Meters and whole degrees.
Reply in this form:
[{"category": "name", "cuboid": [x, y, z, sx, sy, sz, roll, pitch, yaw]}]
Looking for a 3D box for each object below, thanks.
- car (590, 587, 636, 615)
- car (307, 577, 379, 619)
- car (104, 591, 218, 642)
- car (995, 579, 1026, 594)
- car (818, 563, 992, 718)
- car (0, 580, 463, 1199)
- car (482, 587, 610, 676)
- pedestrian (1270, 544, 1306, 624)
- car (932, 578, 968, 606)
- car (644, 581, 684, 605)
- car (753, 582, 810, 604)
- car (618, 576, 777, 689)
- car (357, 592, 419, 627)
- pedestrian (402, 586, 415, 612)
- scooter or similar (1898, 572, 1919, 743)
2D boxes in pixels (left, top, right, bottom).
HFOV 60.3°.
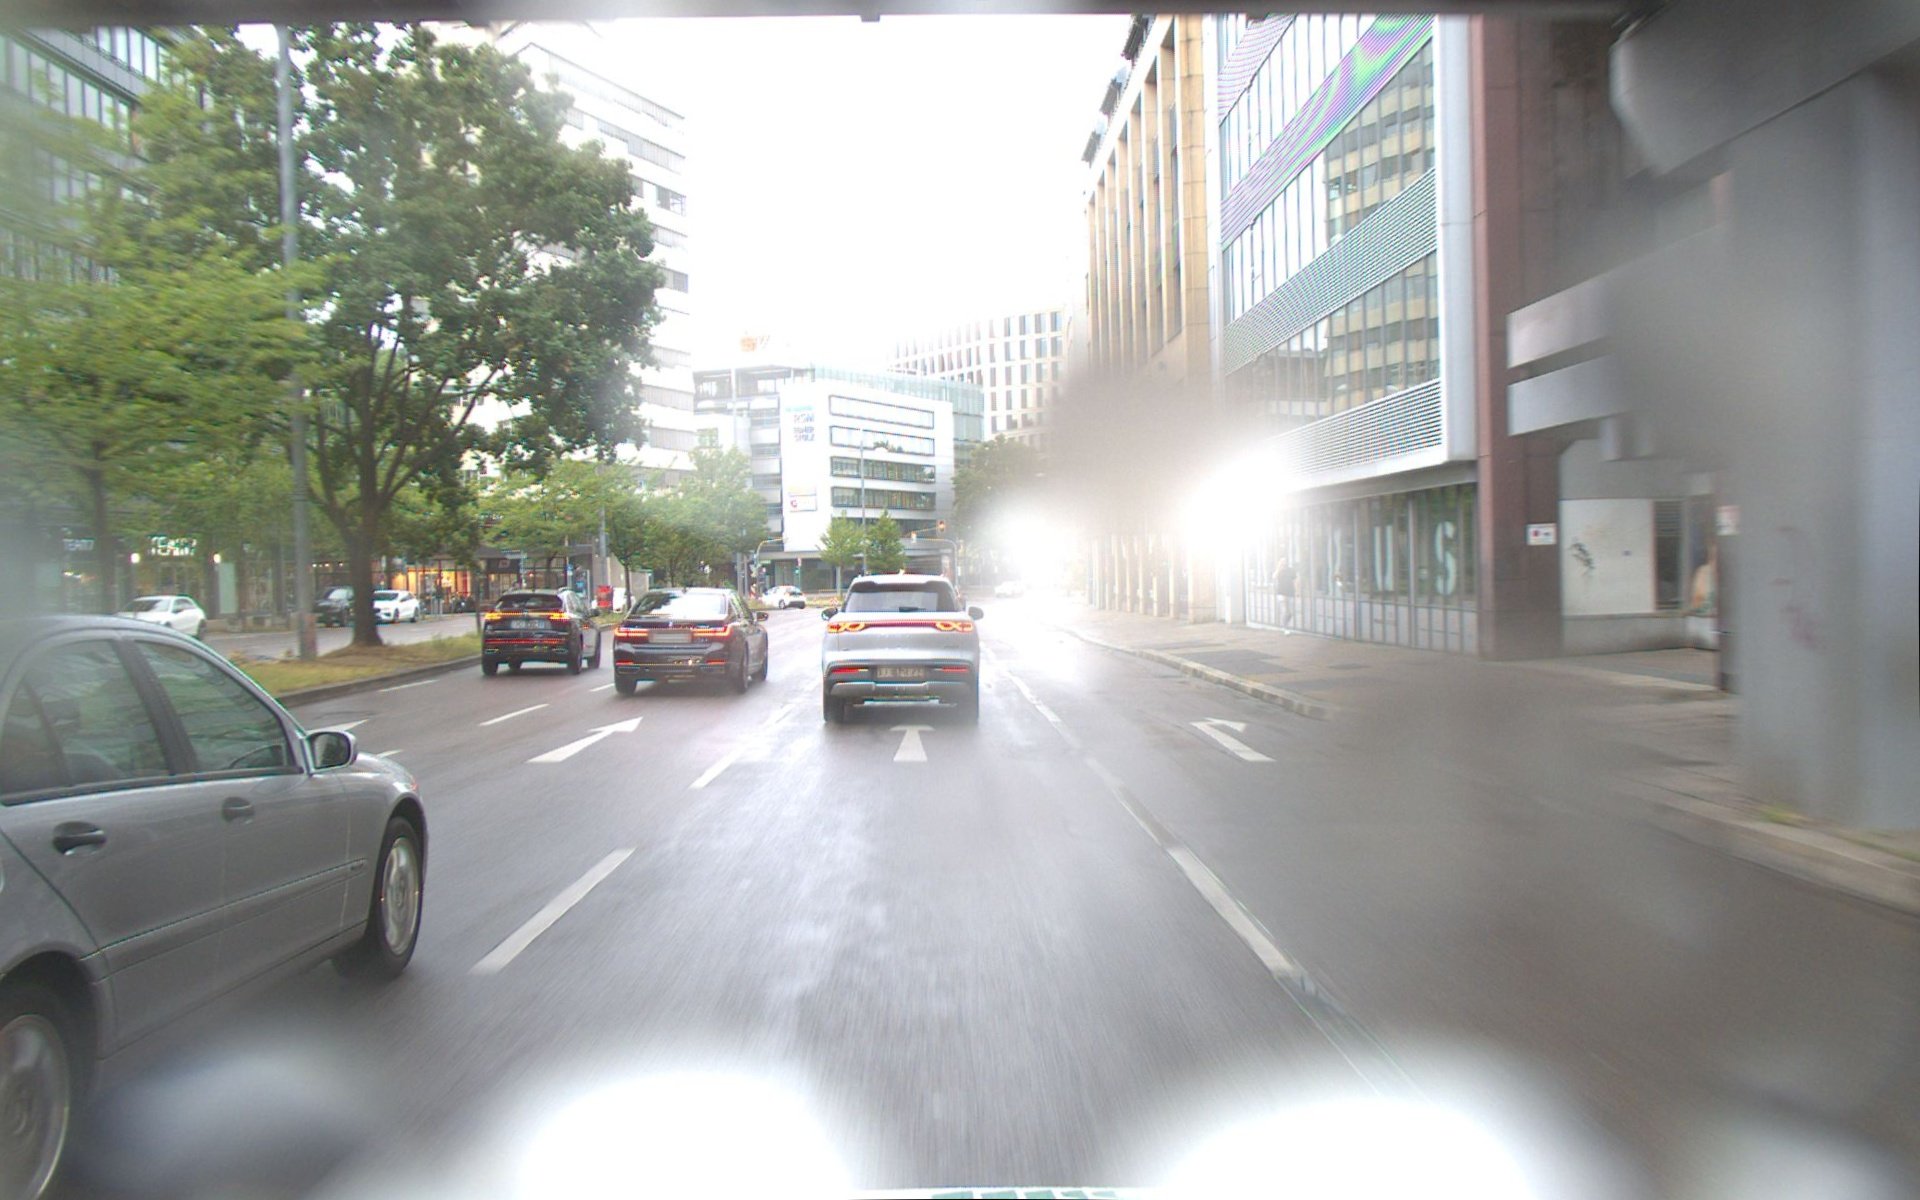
[{"category": "car", "cuboid": [-20.042, 0.065, 95.599, 1.590, 1.518, 4.308, -2, 0, 1]}, {"category": "car", "cuboid": [-25.423, -0.113, 68.258, 1.591, 1.639, 4.230, 0, 1, -3]}, {"category": "car", "cuboid": [-24.887, 0.490, 51.684, 1.591, 1.457, 4.443, -2, 0, -3]}, {"category": "car", "cuboid": [5.333, -1.429, 174.096, 1.550, 1.565, 3.994, -1, 1, 29]}, {"category": "car", "cuboid": [-0.638, 0.416, 19.863, 1.863, 1.649, 3.999, -1, 1, -1]}, {"category": "car", "cuboid": [-2.863, 0.710, 4.713, 1.638, 1.505, 4.359, 0, 0, -1]}, {"category": "car", "cuboid": [-7.549, 0.537, 30.484, 1.740, 1.482, 3.994, -2, 0, -6]}, {"category": "pedestrian", "cuboid": [7.585, -0.362, 38.289, 0.622, 1.803, 0.789, -2, 0, -1]}, {"category": "car", "cuboid": [-0.565, -0.478, 99.805, 1.773, 1.606, 4.003, -1, 1, 5]}, {"category": "car", "cuboid": [-19.519, -0.478, 109.174, 1.589, 1.478, 4.164, -2, 0, 4]}, {"category": "car", "cuboid": [-11.794, -0.468, 109.088, 1.647, 1.365, 3.934, -2, 1, -44]}, {"category": "car", "cuboid": [-3.864, 0.423, 25.102, 1.835, 1.505, 4.875, -1, 1, -3]}, {"category": "car", "cuboid": [-25.631, 0.390, 74.253, 1.591, 1.486, 3.961, 0, 1, -3]}, {"category": "pedestrian", "cuboid": [-32.390, -0.069, 97.142, 0.597, 1.530, 0.431, -1, 1, -40]}, {"category": "scooter or similar", "cuboid": [7.363, 0.432, 11.943, 0.342, 1.277, 1.394, -1, 1, -1]}]
